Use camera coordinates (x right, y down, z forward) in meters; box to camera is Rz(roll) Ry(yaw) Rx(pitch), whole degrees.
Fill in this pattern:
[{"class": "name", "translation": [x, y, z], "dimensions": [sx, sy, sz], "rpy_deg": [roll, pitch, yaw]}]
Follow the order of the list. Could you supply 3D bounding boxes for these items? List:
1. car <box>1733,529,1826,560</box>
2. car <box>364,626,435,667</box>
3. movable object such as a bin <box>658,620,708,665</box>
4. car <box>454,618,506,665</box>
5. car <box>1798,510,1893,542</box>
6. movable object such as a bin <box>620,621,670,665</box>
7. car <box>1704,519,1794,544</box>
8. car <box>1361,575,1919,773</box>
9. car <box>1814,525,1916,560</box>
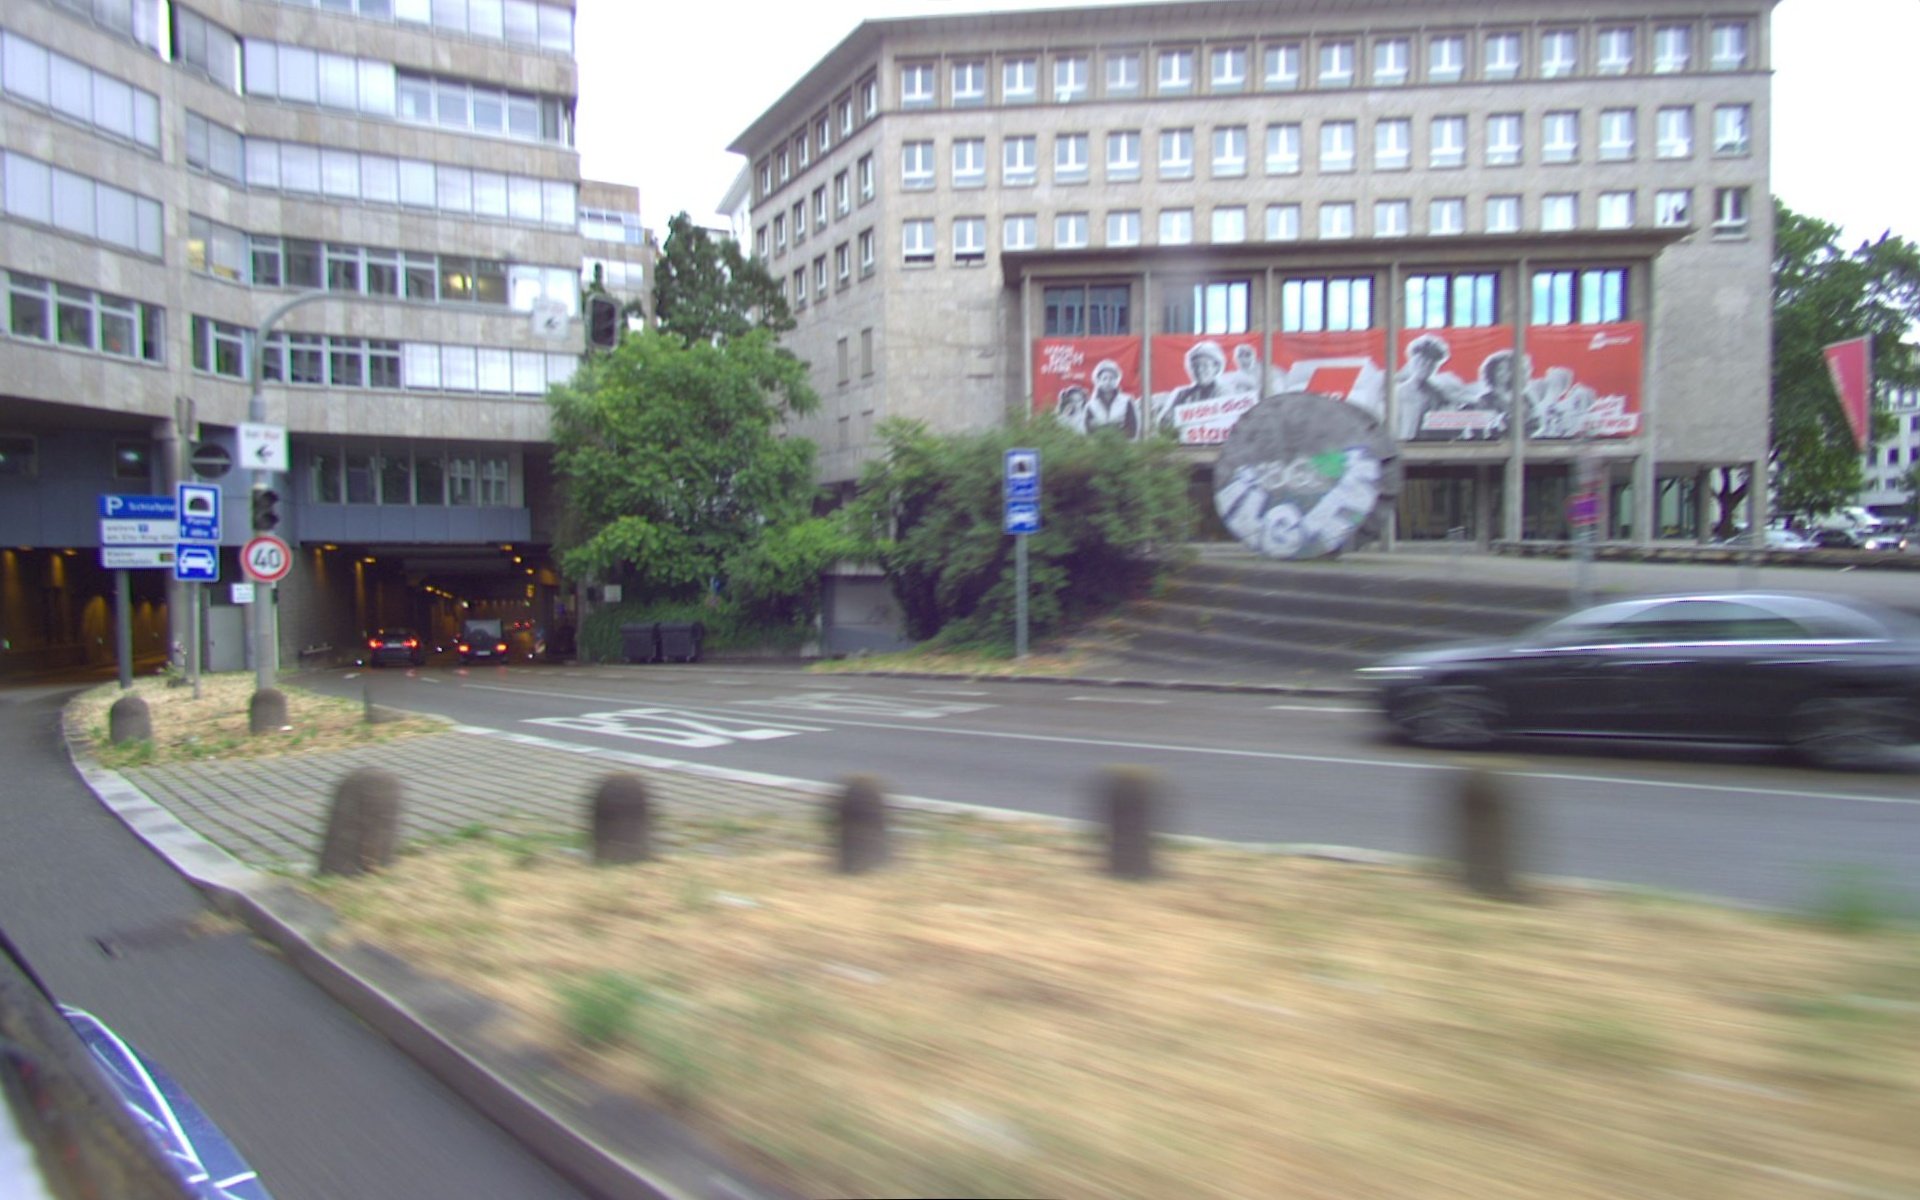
[{"class": "car", "translation": [36.245, -2.440, 44.883], "dimensions": [1.601, 1.257, 3.613], "rpy_deg": [-1, 2, 9]}, {"class": "car", "translation": [-23.910, 1.971, 43.329], "dimensions": [1.819, 1.600, 4.402], "rpy_deg": [-1, -2, -17]}, {"class": "movable object such as a bin", "translation": [-9.546, 1.454, 34.925], "dimensions": [1.195, 1.461, 1.291], "rpy_deg": [-1, 0, 12]}, {"class": "car", "translation": [-20.863, 1.809, 44.147], "dimensions": [1.811, 1.936, 4.657], "rpy_deg": [0, -2, -23]}, {"class": "car", "translation": [81.398, -6.764, 93.164], "dimensions": [2.275, 2.580, 6.313], "rpy_deg": [-2, 2, -18]}, {"class": "movable object such as a bin", "translation": [-10.935, 1.500, 35.204], "dimensions": [1.323, 1.461, 1.166], "rpy_deg": [-1, 0, 4]}, {"class": "car", "translation": [73.050, -6.332, 93.850], "dimensions": [2.275, 1.971, 6.313], "rpy_deg": [-2, 2, -18]}, {"class": "car", "translation": [6.355, 0.552, 9.298], "dimensions": [4.818, 1.504, 1.982], "rpy_deg": [0, 1, 28]}, {"class": "car", "translation": [40.407, -2.549, 45.274], "dimensions": [1.600, 1.414, 3.615], "rpy_deg": [-1, 2, 7]}]
